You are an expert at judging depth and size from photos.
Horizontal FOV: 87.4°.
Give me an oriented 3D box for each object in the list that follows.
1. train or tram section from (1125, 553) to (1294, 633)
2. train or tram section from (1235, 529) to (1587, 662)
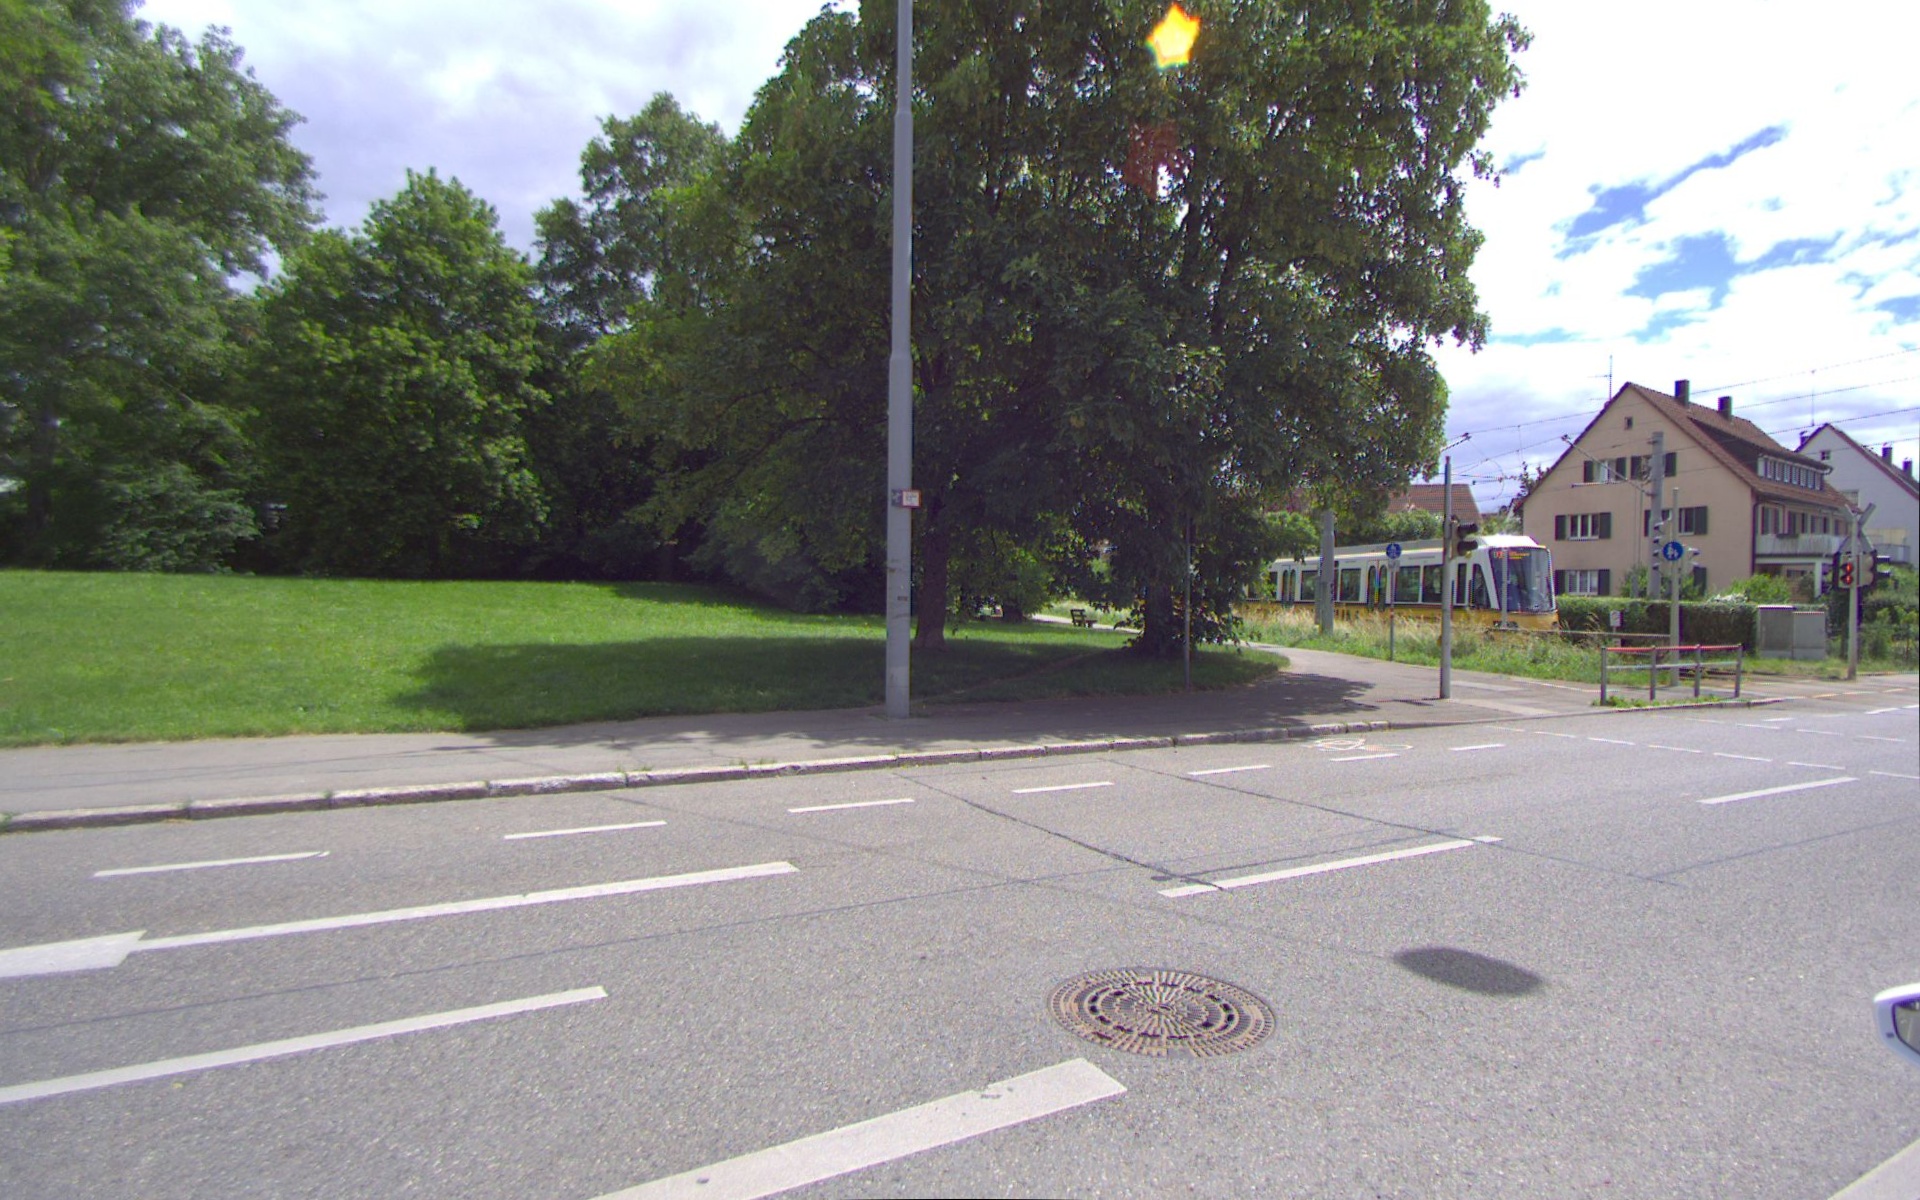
[{"bbox_3d":[13.400,-0.426,57.176,2.864,3.754,19.098,1,1,-6],"label":"train or tram section"},{"bbox_3d":[15.515,-0.216,38.214,2.864,3.754,19.098,1,1,-6],"label":"train or tram section"}]
